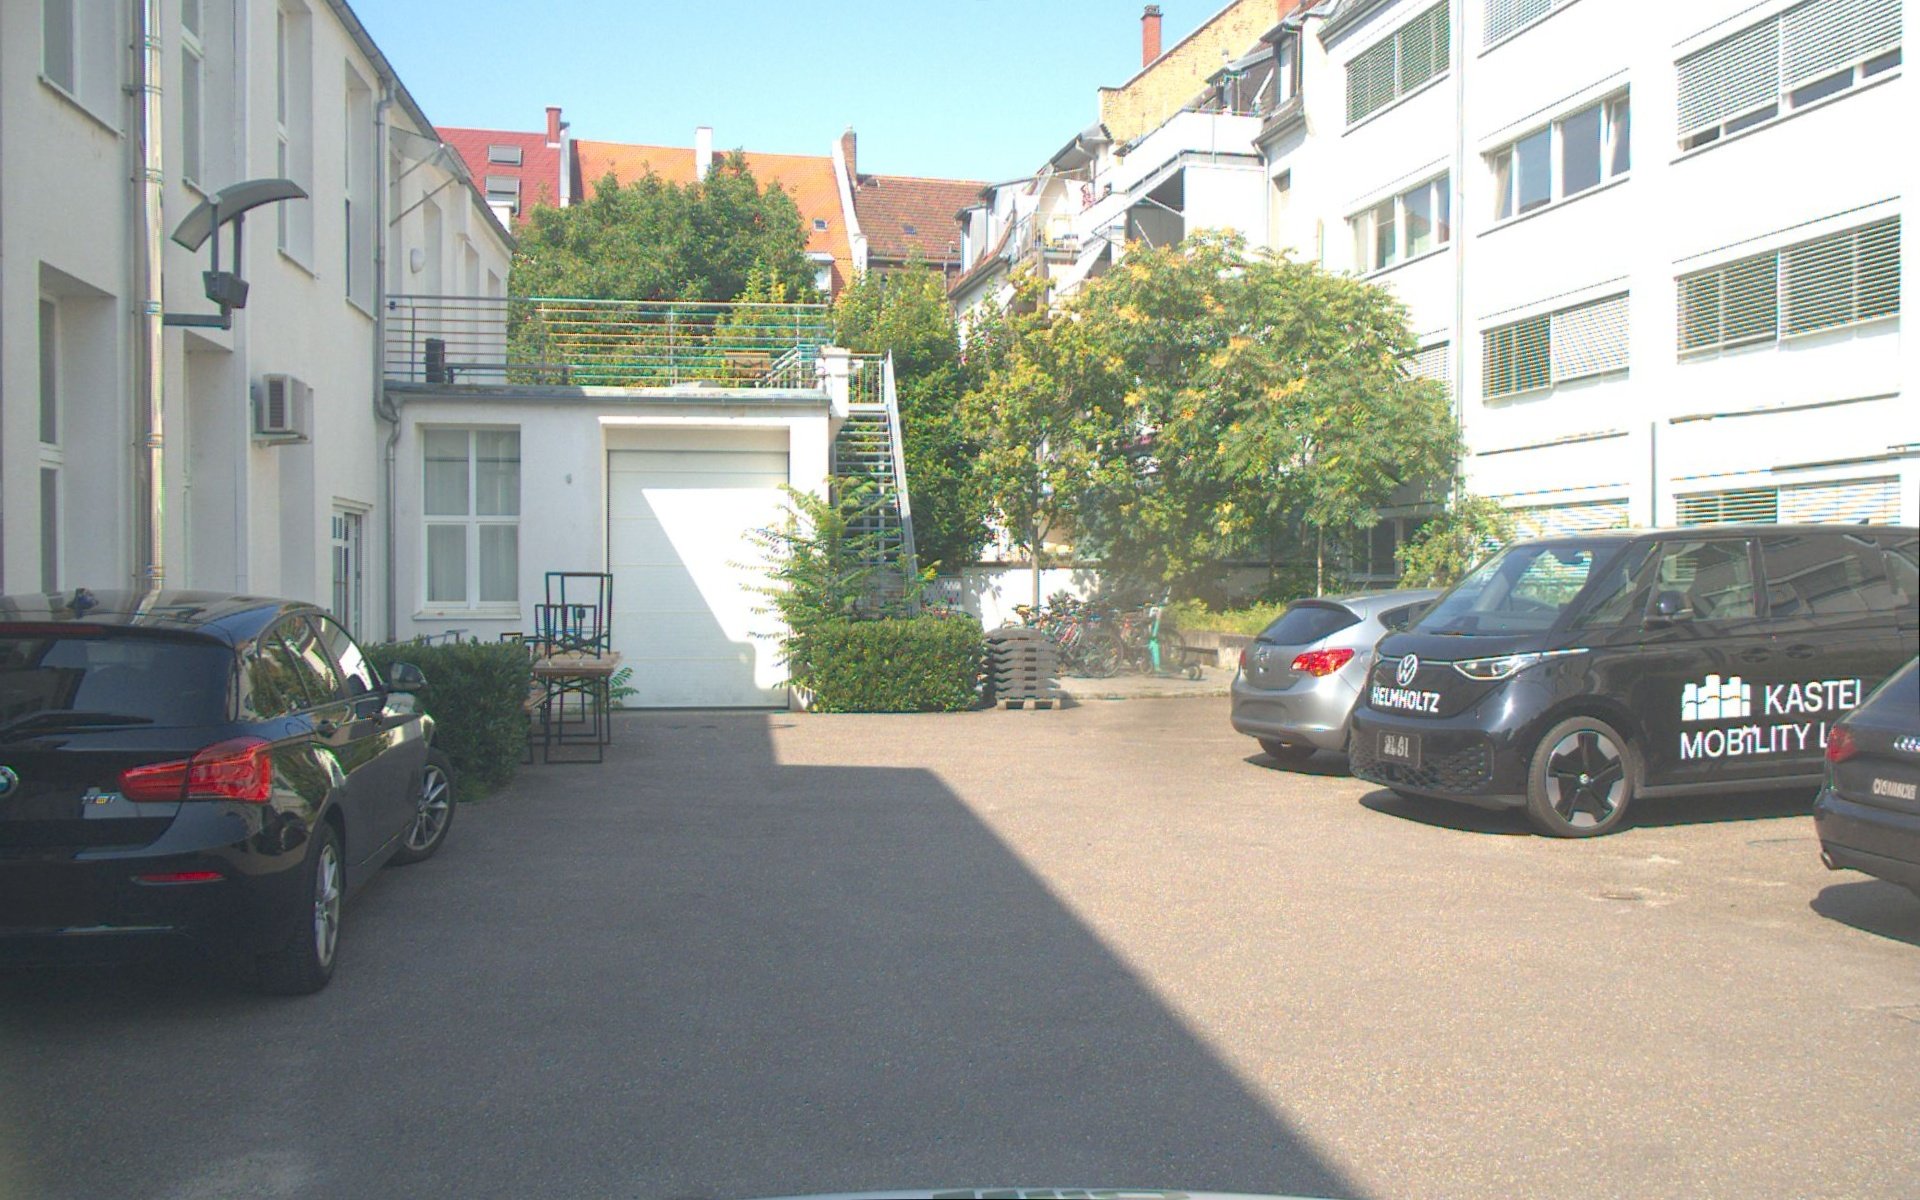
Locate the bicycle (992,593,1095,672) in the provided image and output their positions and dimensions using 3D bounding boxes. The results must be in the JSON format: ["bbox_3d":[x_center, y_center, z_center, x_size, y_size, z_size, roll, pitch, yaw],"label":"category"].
[{"bbox_3d":[1.338,0.514,26.591,1.593,1.235,0.423,-1,0,-9],"label":"bicycle"}]

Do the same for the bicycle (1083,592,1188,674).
[{"bbox_3d":[2.718,0.516,25.631,1.588,1.235,0.327,-1,0,7],"label":"bicycle"}]

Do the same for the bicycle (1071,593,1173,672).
[{"bbox_3d":[2.588,0.516,26.480,1.589,1.235,0.424,-1,0,5],"label":"bicycle"}]

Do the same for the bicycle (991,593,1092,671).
[{"bbox_3d":[1.339,0.513,27.230,1.595,1.235,0.422,-1,0,-13],"label":"bicycle"}]

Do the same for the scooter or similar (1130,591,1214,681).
[{"bbox_3d":[3.120,0.524,24.465,0.376,1.283,1.330,-1,1,-39],"label":"scooter or similar"}]

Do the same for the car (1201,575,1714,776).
[{"bbox_3d":[4.191,0.573,14.086,3.869,1.508,1.766,-1,0,-17],"label":"car"}]

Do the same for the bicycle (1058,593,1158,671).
[{"bbox_3d":[2.418,0.516,27.037,1.589,1.235,0.424,-1,0,5],"label":"bicycle"}]

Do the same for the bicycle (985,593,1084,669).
[{"bbox_3d":[1.258,0.513,27.826,1.595,1.235,0.423,-1,0,-13],"label":"bicycle"}]

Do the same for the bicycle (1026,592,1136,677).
[{"bbox_3d":[1.817,0.515,24.857,1.592,1.235,0.326,-1,0,-6],"label":"bicycle"}]

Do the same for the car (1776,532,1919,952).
[{"bbox_3d":[5.920,0.586,7.180,4.042,1.721,1.767,0,0,-11],"label":"car"}]

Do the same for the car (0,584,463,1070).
[{"bbox_3d":[-3.243,0.691,6.985,1.657,1.484,3.915,0,0,-9],"label":"car"}]

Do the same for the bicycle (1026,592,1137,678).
[{"bbox_3d":[1.794,0.515,24.530,1.592,1.235,0.326,-1,0,-6],"label":"bicycle"}]

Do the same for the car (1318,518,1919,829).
[{"bbox_3d":[4.881,0.413,11.273,4.429,1.826,1.874,-1,0,-17],"label":"car"}]

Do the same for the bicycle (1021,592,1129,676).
[{"bbox_3d":[1.752,0.514,25.144,1.592,1.235,0.326,-1,0,-6],"label":"bicycle"}]

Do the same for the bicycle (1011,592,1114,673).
[{"bbox_3d":[1.607,0.514,25.946,1.589,1.235,0.327,-1,0,5],"label":"bicycle"}]

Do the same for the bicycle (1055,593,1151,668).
[{"bbox_3d":[2.426,0.515,28.072,1.589,1.235,0.424,-1,0,5],"label":"bicycle"}]

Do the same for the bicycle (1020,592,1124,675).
[{"bbox_3d":[1.729,0.514,25.595,1.589,1.235,0.327,-1,0,2],"label":"bicycle"}]
